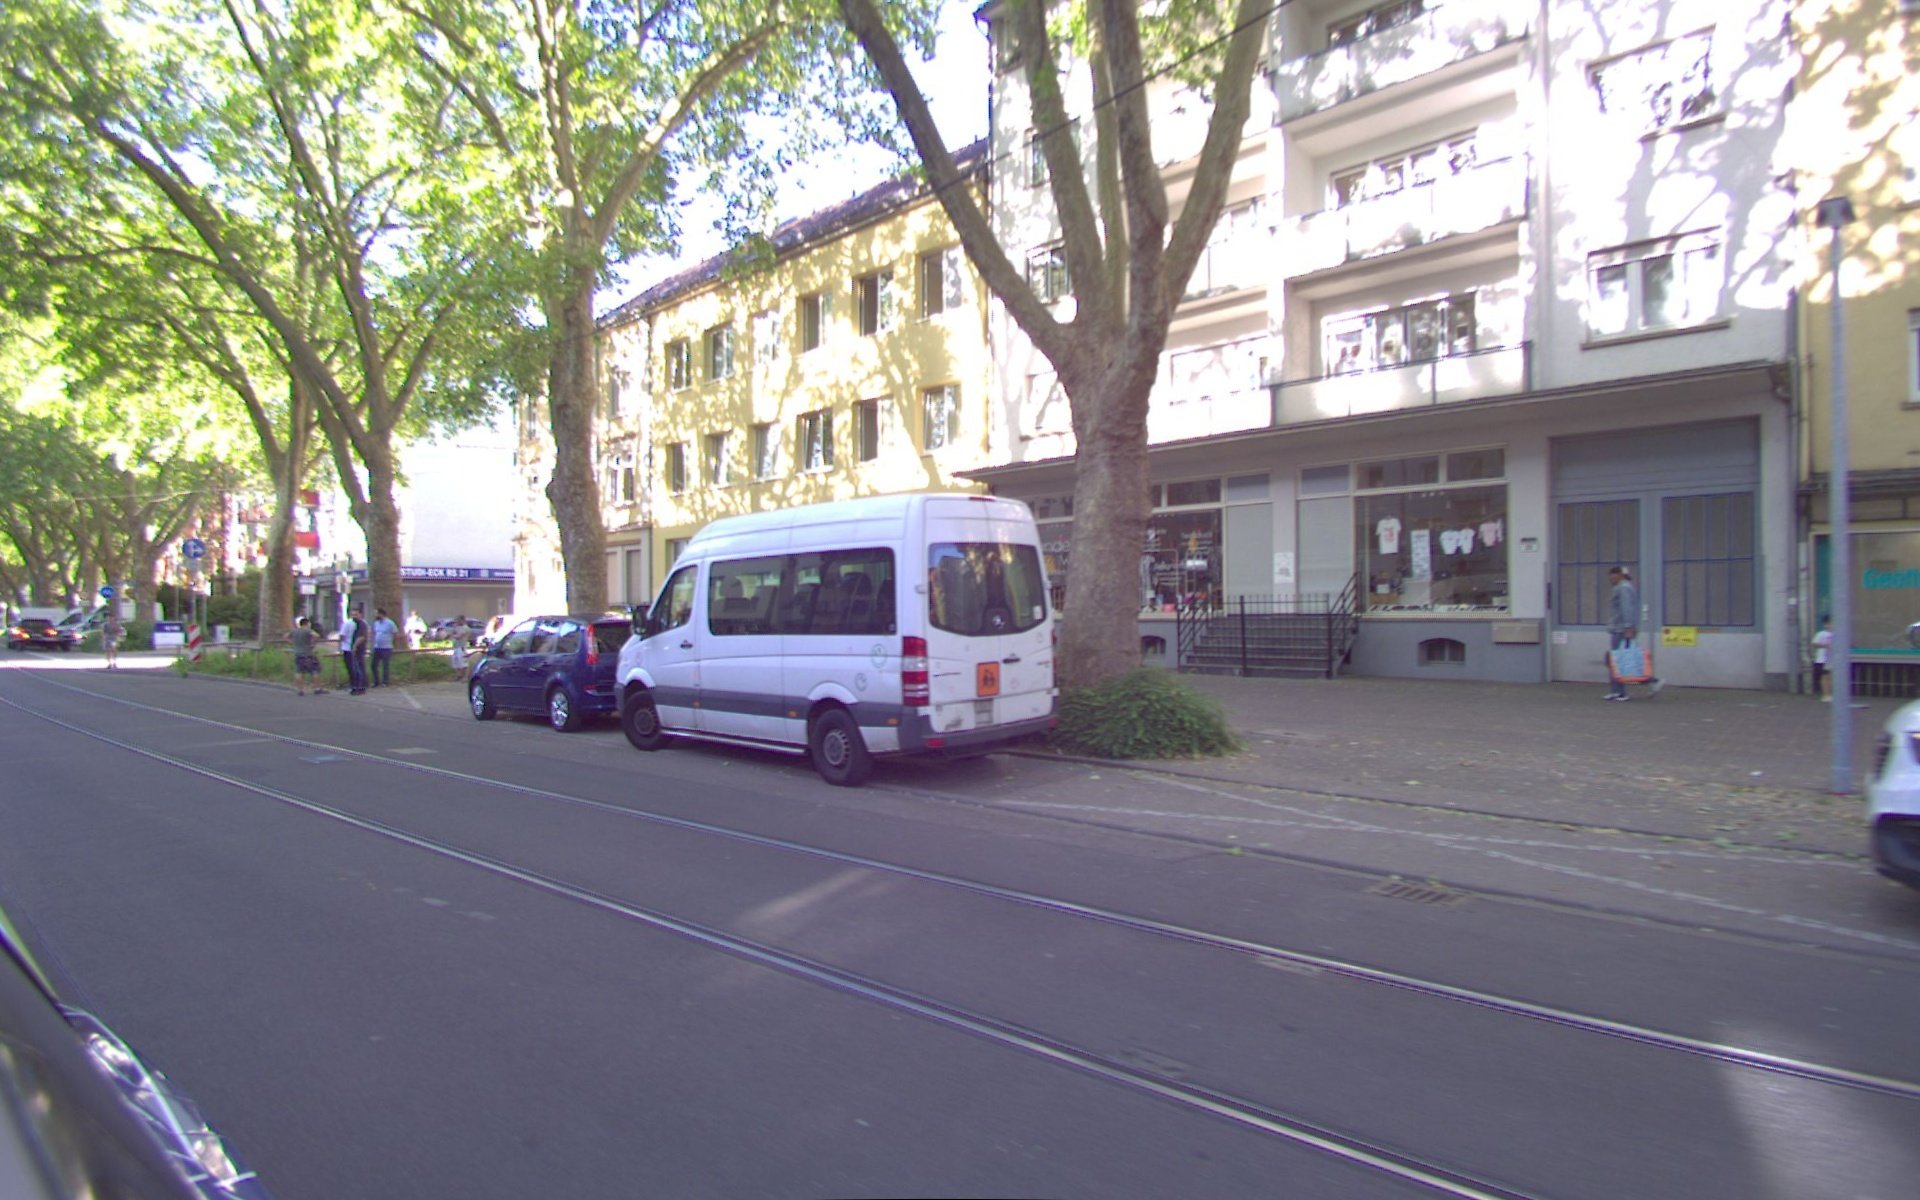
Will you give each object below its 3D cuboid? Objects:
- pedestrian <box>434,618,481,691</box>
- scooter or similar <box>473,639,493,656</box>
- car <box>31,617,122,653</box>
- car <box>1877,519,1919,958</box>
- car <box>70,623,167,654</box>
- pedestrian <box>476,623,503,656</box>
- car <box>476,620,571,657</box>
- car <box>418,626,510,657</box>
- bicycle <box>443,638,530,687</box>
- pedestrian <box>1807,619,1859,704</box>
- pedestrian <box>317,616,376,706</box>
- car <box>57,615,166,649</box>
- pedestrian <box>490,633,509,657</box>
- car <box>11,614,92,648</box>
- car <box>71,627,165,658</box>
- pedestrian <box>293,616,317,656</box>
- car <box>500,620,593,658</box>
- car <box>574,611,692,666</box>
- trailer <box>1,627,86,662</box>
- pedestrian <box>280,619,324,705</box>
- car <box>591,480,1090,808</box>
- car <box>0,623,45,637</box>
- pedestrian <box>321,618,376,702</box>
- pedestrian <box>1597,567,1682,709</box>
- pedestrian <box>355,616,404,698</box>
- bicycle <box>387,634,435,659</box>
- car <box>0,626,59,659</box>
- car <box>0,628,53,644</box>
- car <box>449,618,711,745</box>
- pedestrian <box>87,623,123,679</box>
[{"bbox_3d":[-11.454,1.234,23.076,0.759,1.622,0.715,-1,-1,-5],"label":"pedestrian"},{"bbox_3d":[-21.961,2.189,46.562,0.896,0.759,0.522,-1,-1,42],"label":"scooter or similar"},{"bbox_3d":[-61.177,2.385,70.125,2.000,2.323,4.598,-1,-1,43],"label":"car"},{"bbox_3d":[6.203,0.559,3.580,4.317,1.864,1.744,-1,-1,42],"label":"car"},{"bbox_3d":[-47.022,2.128,56.581,1.908,1.622,3.945,-2,-1,41],"label":"car"},{"bbox_3d":[-22.080,1.833,47.473,1.069,1.490,0.764,-1,-1,42],"label":"pedestrian"},{"bbox_3d":[-21.980,1.919,51.033,1.800,1.650,3.958,-6,-4,42],"label":"car"},{"bbox_3d":[-26.889,2.225,54.923,1.834,1.489,4.097,-1,-1,42],"label":"car"},{"bbox_3d":[-11.219,1.470,24.033,1.820,1.088,0.571,-1,-1,-20],"label":"bicycle"},{"bbox_3d":[11.844,0.825,13.740,0.436,1.114,0.417,-1,-1,28],"label":"pedestrian"},{"bbox_3d":[-12.600,1.237,20.805,0.762,1.790,0.712,-1,-1,8],"label":"pedestrian"},{"bbox_3d":[-54.251,2.008,64.784,1.998,2.010,5.070,-1,-1,38],"label":"car"},{"bbox_3d":[-20.723,2.040,45.534,0.540,1.048,0.541,-1,-1,10],"label":"pedestrian"},{"bbox_3d":[-71.865,2.446,80.108,2.000,2.552,4.598,-1,-1,43],"label":"car"},{"bbox_3d":[-48.608,2.425,58.461,1.999,1.657,3.945,-1,-1,41],"label":"car"},{"bbox_3d":[-29.855,1.649,46.143,0.668,1.793,0.715,0,0,34],"label":"pedestrian"},{"bbox_3d":[-16.235,1.480,39.664,3.998,1.398,1.761,-1,-1,41],"label":"car"},{"bbox_3d":[-11.389,1.276,35.086,1.971,1.750,4.698,0,-1,-45],"label":"car"},{"bbox_3d":[-46.588,2.237,51.408,6.582,1.644,2.420,-1,-4,42],"label":"trailer"},{"bbox_3d":[-13.735,1.274,21.149,0.701,1.748,0.773,0,-1,-29],"label":"pedestrian"},{"bbox_3d":[-1.643,0.384,10.912,2.083,2.597,6.027,0,-1,-45],"label":"car"},{"bbox_3d":[-106.467,3.350,114.695,1.999,1.478,3.945,-1,-1,41],"label":"car"},{"bbox_3d":[-12.992,1.255,21.523,0.759,1.748,0.715,-1,-1,-5],"label":"pedestrian"},{"bbox_3d":[9.361,0.503,13.945,0.863,1.883,0.736,-1,-1,41],"label":"pedestrian"},{"bbox_3d":[-12.798,1.228,22.312,0.717,1.748,0.760,-1,-1,41],"label":"pedestrian"},{"bbox_3d":[-25.308,2.129,46.703,0.655,1.070,1.845,-1,-1,35],"label":"bicycle"},{"bbox_3d":[-50.660,2.292,55.078,4.180,1.696,1.902,-1,-4,41],"label":"car"},{"bbox_3d":[-93.823,3.558,101.599,1.999,1.478,3.945,-1,-1,41],"label":"car"},{"bbox_3d":[-5.709,1.071,14.929,4.283,1.573,1.896,-1,-1,42],"label":"car"},{"bbox_3d":[-28.173,1.661,33.343,0.799,1.805,0.693,-1,-1,31],"label":"pedestrian"}]
